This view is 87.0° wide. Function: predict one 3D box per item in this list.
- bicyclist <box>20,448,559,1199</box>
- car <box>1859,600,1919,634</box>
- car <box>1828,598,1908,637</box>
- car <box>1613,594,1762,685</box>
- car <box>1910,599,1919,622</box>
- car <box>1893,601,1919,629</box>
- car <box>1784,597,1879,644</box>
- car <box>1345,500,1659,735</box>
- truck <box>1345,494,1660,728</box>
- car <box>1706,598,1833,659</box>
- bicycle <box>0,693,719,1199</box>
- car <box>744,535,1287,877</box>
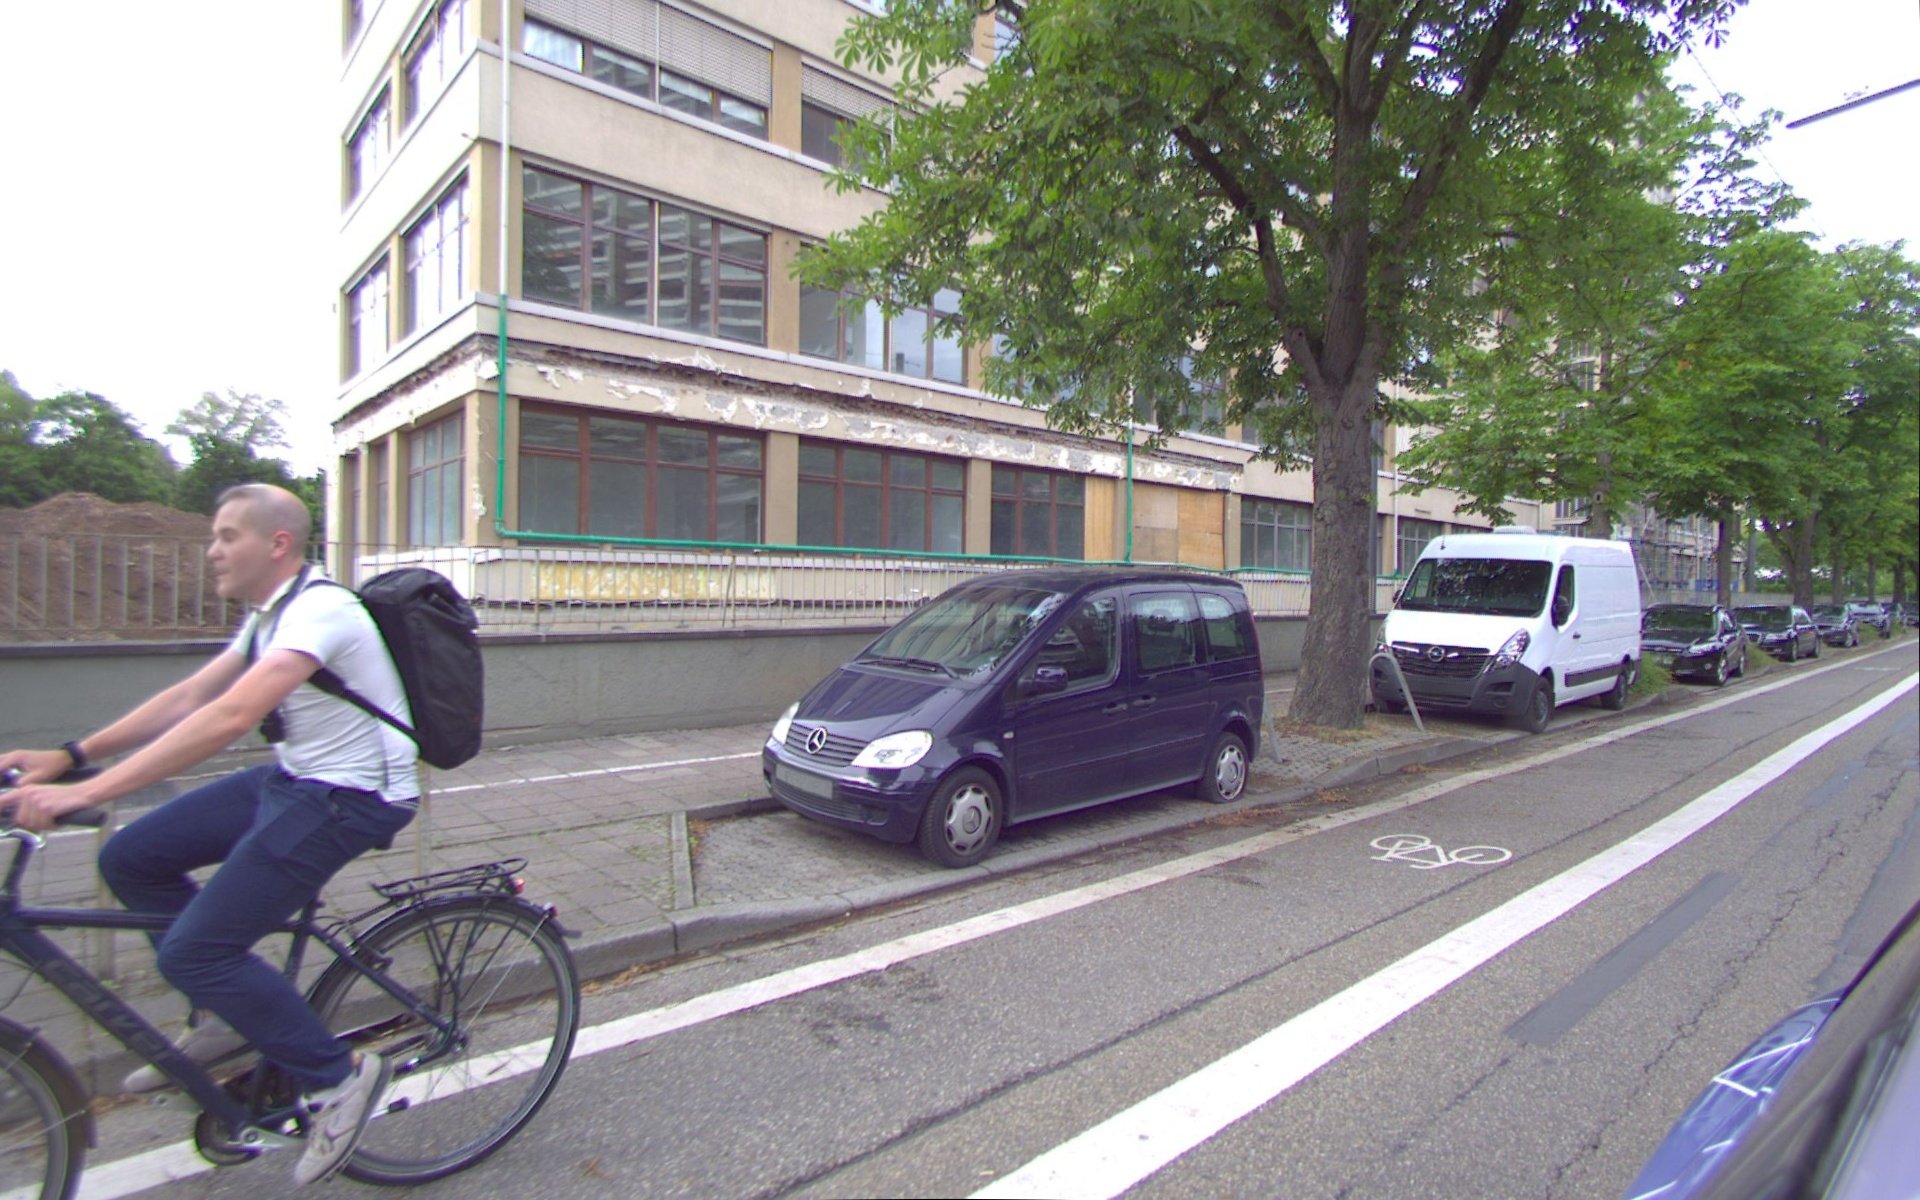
[{"bbox_3d":[-1.568,0.516,2.413,0.969,1.589,0.662,0,-1,-43],"label":"bicyclist"},{"bbox_3d":[42.391,0.732,45.928,4.319,1.479,1.996,0,0,-43],"label":"car"},{"bbox_3d":[36.507,0.673,40.641,4.319,1.479,1.996,0,0,-43],"label":"car"},{"bbox_3d":[14.563,0.703,20.182,1.821,1.518,4.041,3,3,44],"label":"car"},{"bbox_3d":[61.417,0.652,63.780,4.319,1.479,1.996,0,0,-43],"label":"car"},{"bbox_3d":[53.073,0.799,55.876,4.319,1.479,1.996,0,0,-43],"label":"car"},{"bbox_3d":[29.711,0.652,34.455,4.319,1.479,1.996,0,0,-43],"label":"car"},{"bbox_3d":[7.635,0.190,13.967,5.397,2.635,2.115,0,0,-42],"label":"car"},{"bbox_3d":[7.640,0.119,13.967,5.397,2.635,2.115,0,0,-42],"label":"truck"},{"bbox_3d":[21.408,0.690,26.717,4.319,1.479,1.996,0,0,-43],"label":"car"},{"bbox_3d":[-1.561,0.859,2.414,1.834,1.131,0.665,0,-2,-42],"label":"bicycle"},{"bbox_3d":[0.607,0.542,7.421,4.015,1.835,1.655,-1,0,-43],"label":"car"}]
